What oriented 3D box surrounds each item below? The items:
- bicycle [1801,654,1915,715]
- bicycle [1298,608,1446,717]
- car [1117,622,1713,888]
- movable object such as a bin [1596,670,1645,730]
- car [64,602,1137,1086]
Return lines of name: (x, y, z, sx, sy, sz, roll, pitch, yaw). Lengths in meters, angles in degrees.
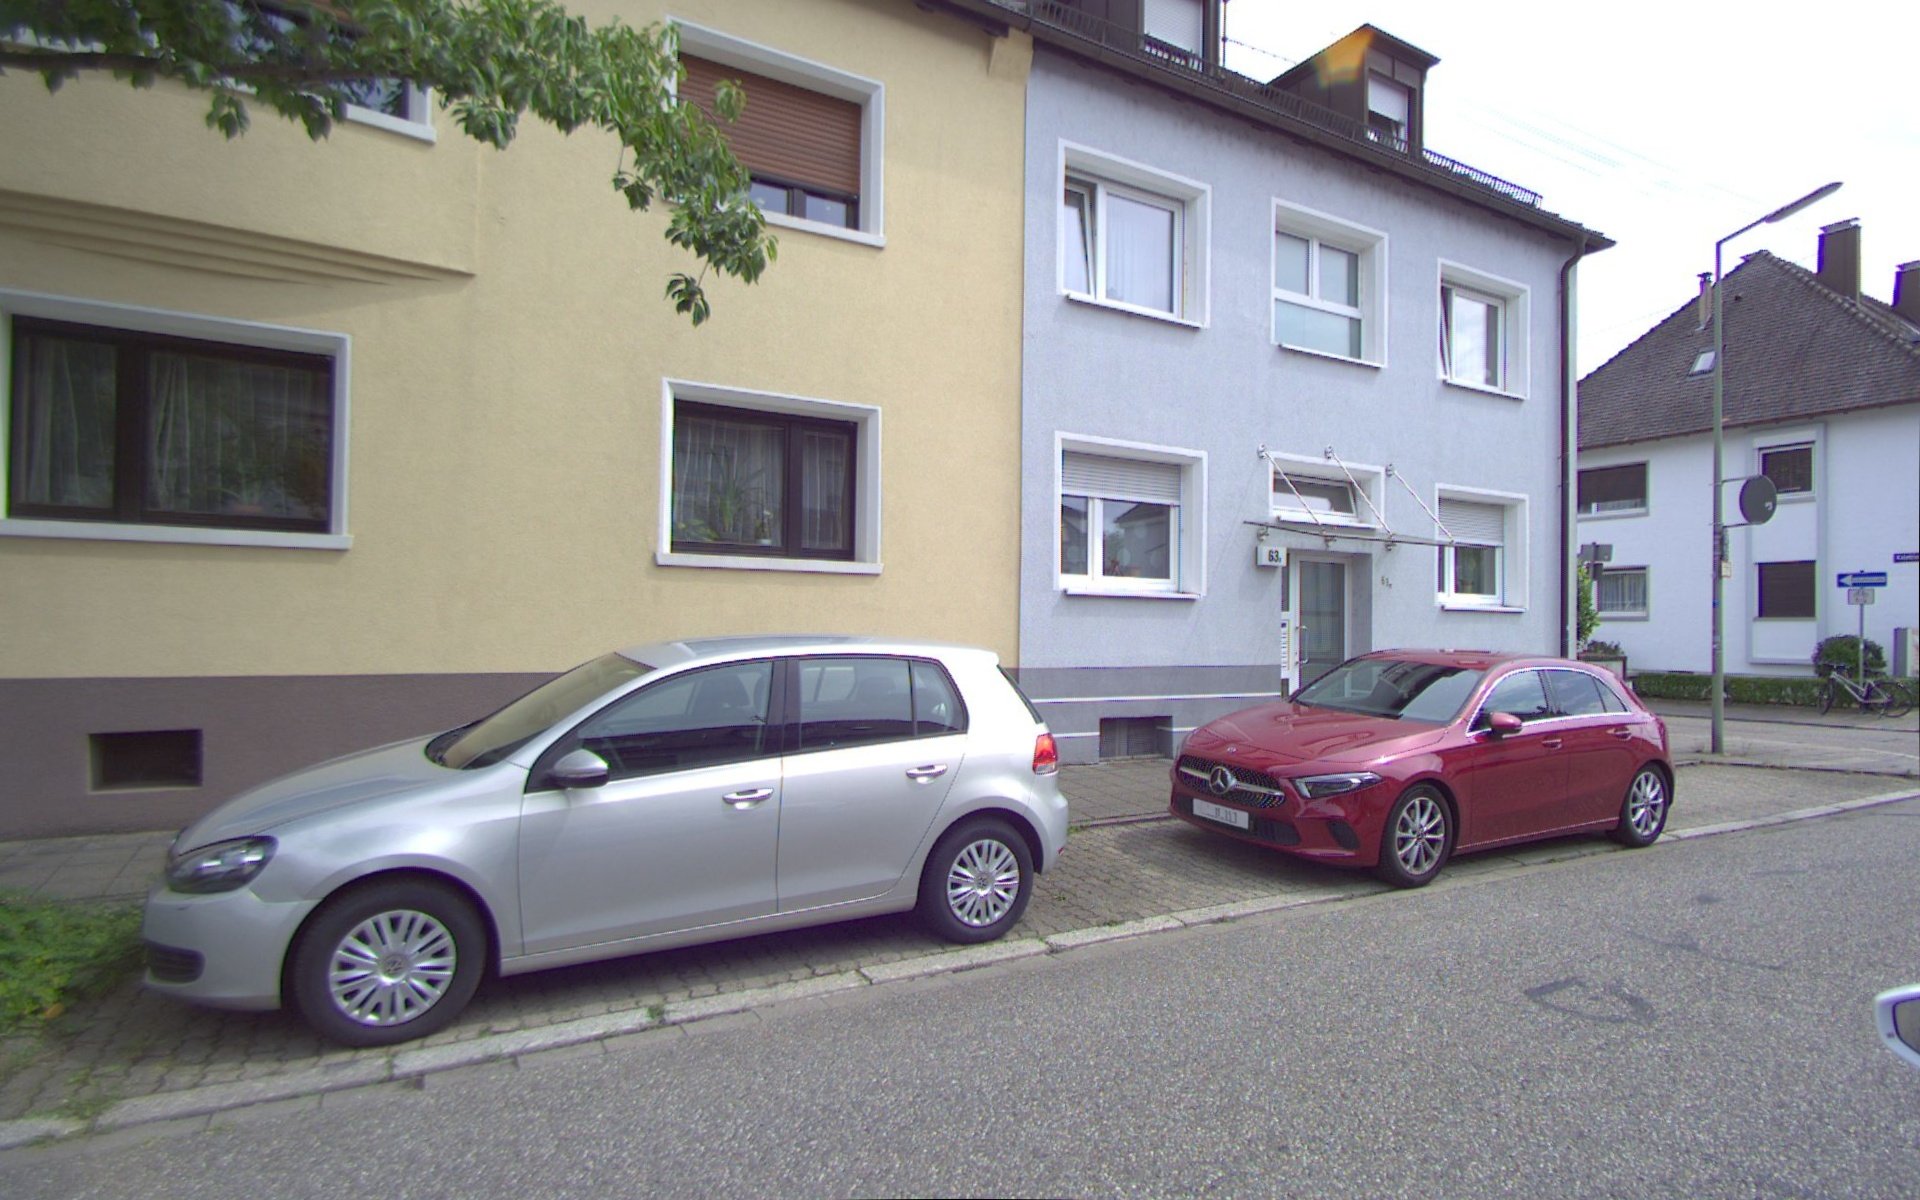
bicycle: (18.113, 1.689, 20.296, 0.430, 1.194, 1.625, 2, -4, -33)
bicycle: (4.777, 0.709, 11.608, 1.851, 1.168, 0.488, 2, 3, -30)
car: (3.536, 0.991, 7.645, 4.458, 1.505, 1.869, 2, -4, -30)
movable object such as a bin: (10.363, 1.562, 15.761, 0.471, 0.918, 0.483, 2, -4, -35)
car: (-1.383, 0.835, 4.966, 4.223, 1.411, 1.763, 2, 4, -29)
